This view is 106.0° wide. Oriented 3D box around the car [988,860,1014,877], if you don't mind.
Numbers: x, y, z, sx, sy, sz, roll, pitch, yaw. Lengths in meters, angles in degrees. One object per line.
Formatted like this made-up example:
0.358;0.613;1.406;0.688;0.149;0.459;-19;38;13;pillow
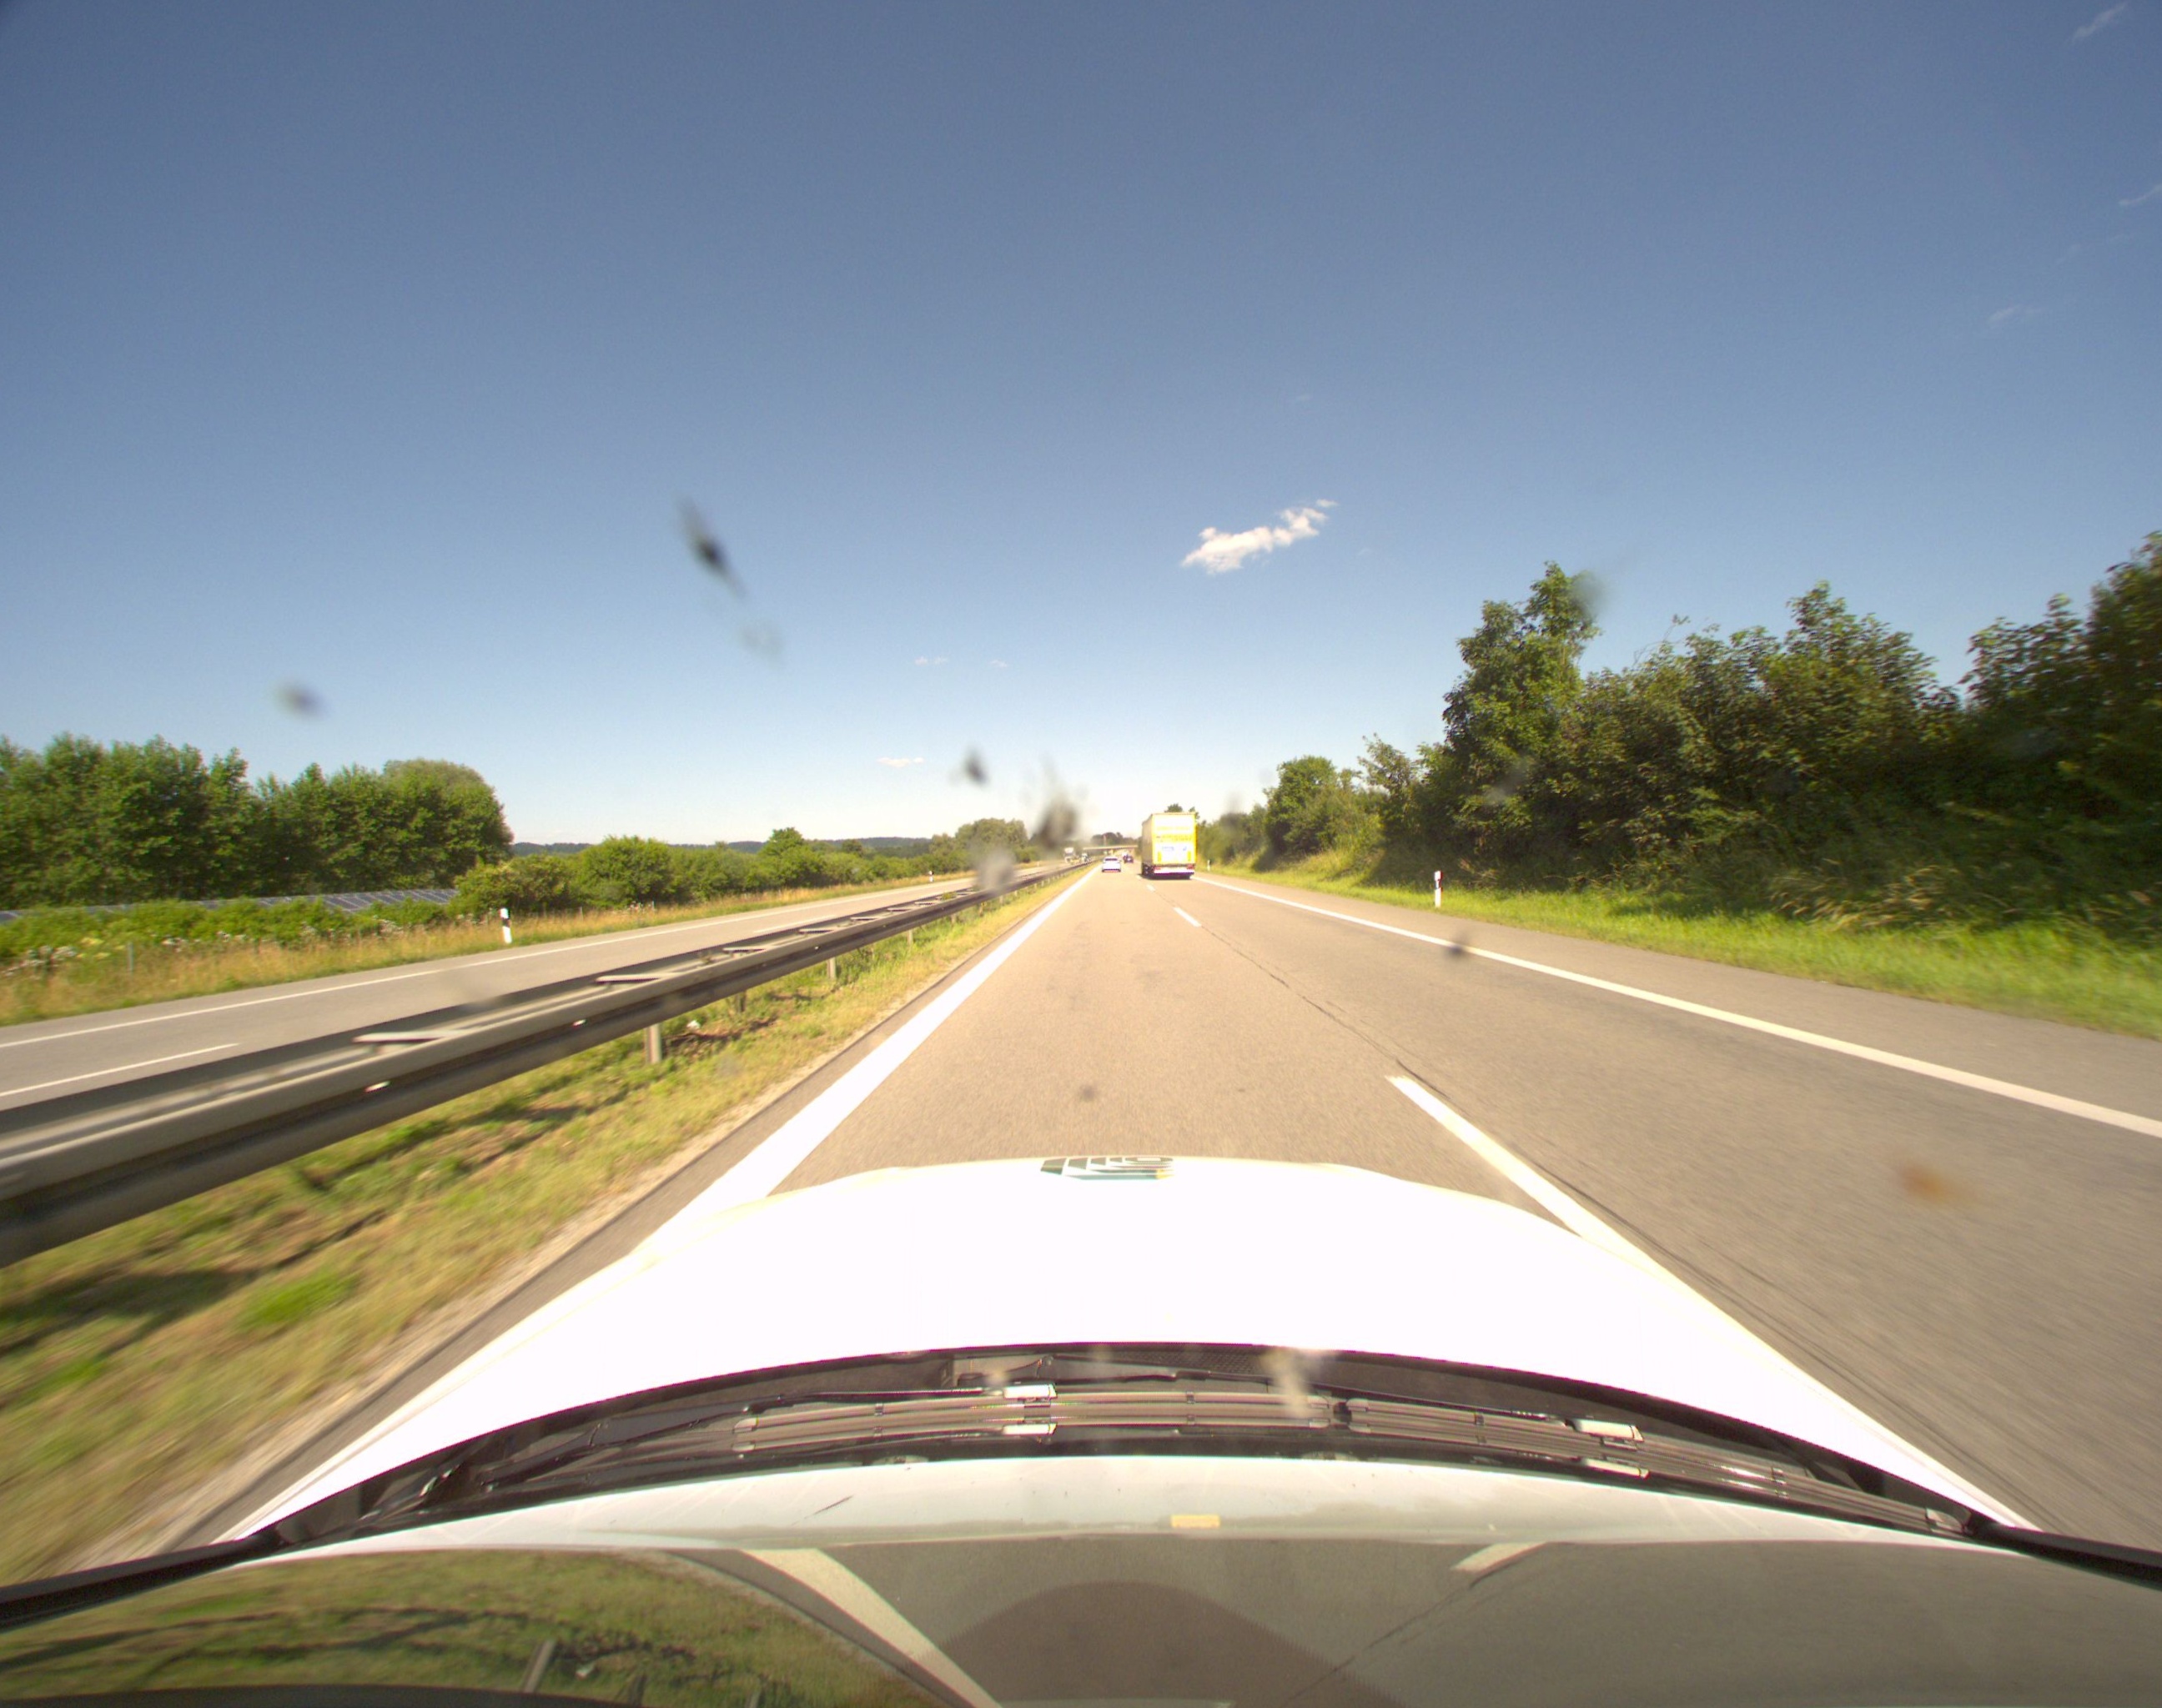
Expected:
-7.825;1.389;80.097;1.723;1.511;4.483;-4;-1;3;car

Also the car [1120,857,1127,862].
13.597;1.676;261.079;1.895;1.683;4.732;1;0;2;car

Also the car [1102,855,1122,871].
2.936;0.817;76.390;1.835;1.415;4.003;0;0;3;car

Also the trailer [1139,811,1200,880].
5.689;-0.480;54.629;3.172;4.059;13.193;0;0;2;trailer

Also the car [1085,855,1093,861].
2.225;1.063;221.019;1.719;1.582;4.770;-5;-1;3;car

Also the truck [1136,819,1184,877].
5.906;-0.428;61.711;3.157;4.114;6.389;0;0;1;truck

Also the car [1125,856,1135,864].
9.549;1.176;158.256;1.835;1.520;4.003;0;0;3;car

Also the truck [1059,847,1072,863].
-4.279;0.366;222.758;3.157;4.114;6.390;-4;0;1;truck

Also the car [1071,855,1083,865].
-0.817;1.150;159.512;1.941;1.771;4.753;-5;-1;4;car
